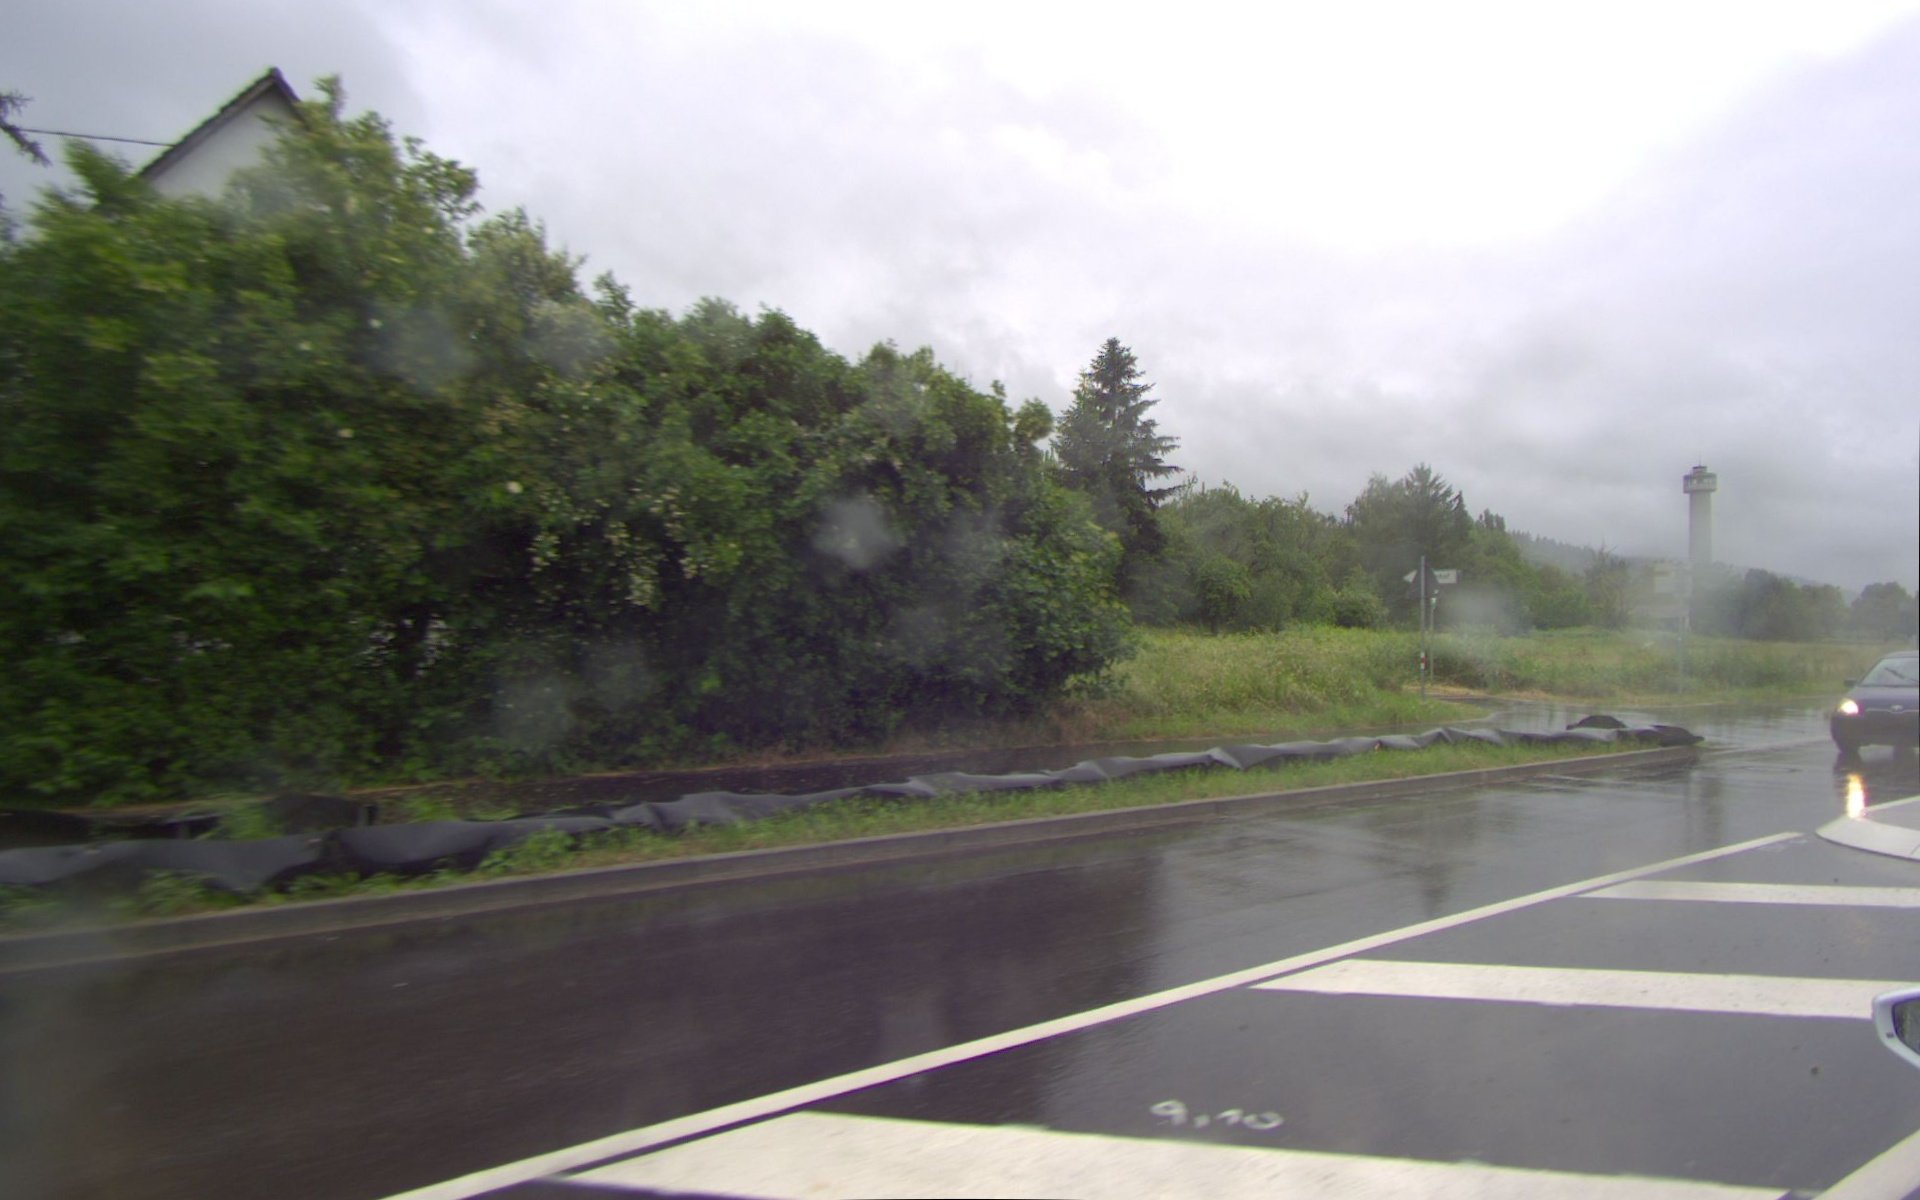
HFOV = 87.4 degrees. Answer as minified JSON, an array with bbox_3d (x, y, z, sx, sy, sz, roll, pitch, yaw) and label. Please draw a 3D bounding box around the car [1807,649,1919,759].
[{"bbox_3d":[14.256,1.461,14.784,3.643,1.464,1.732,1,-4,-33],"label":"car"}]
